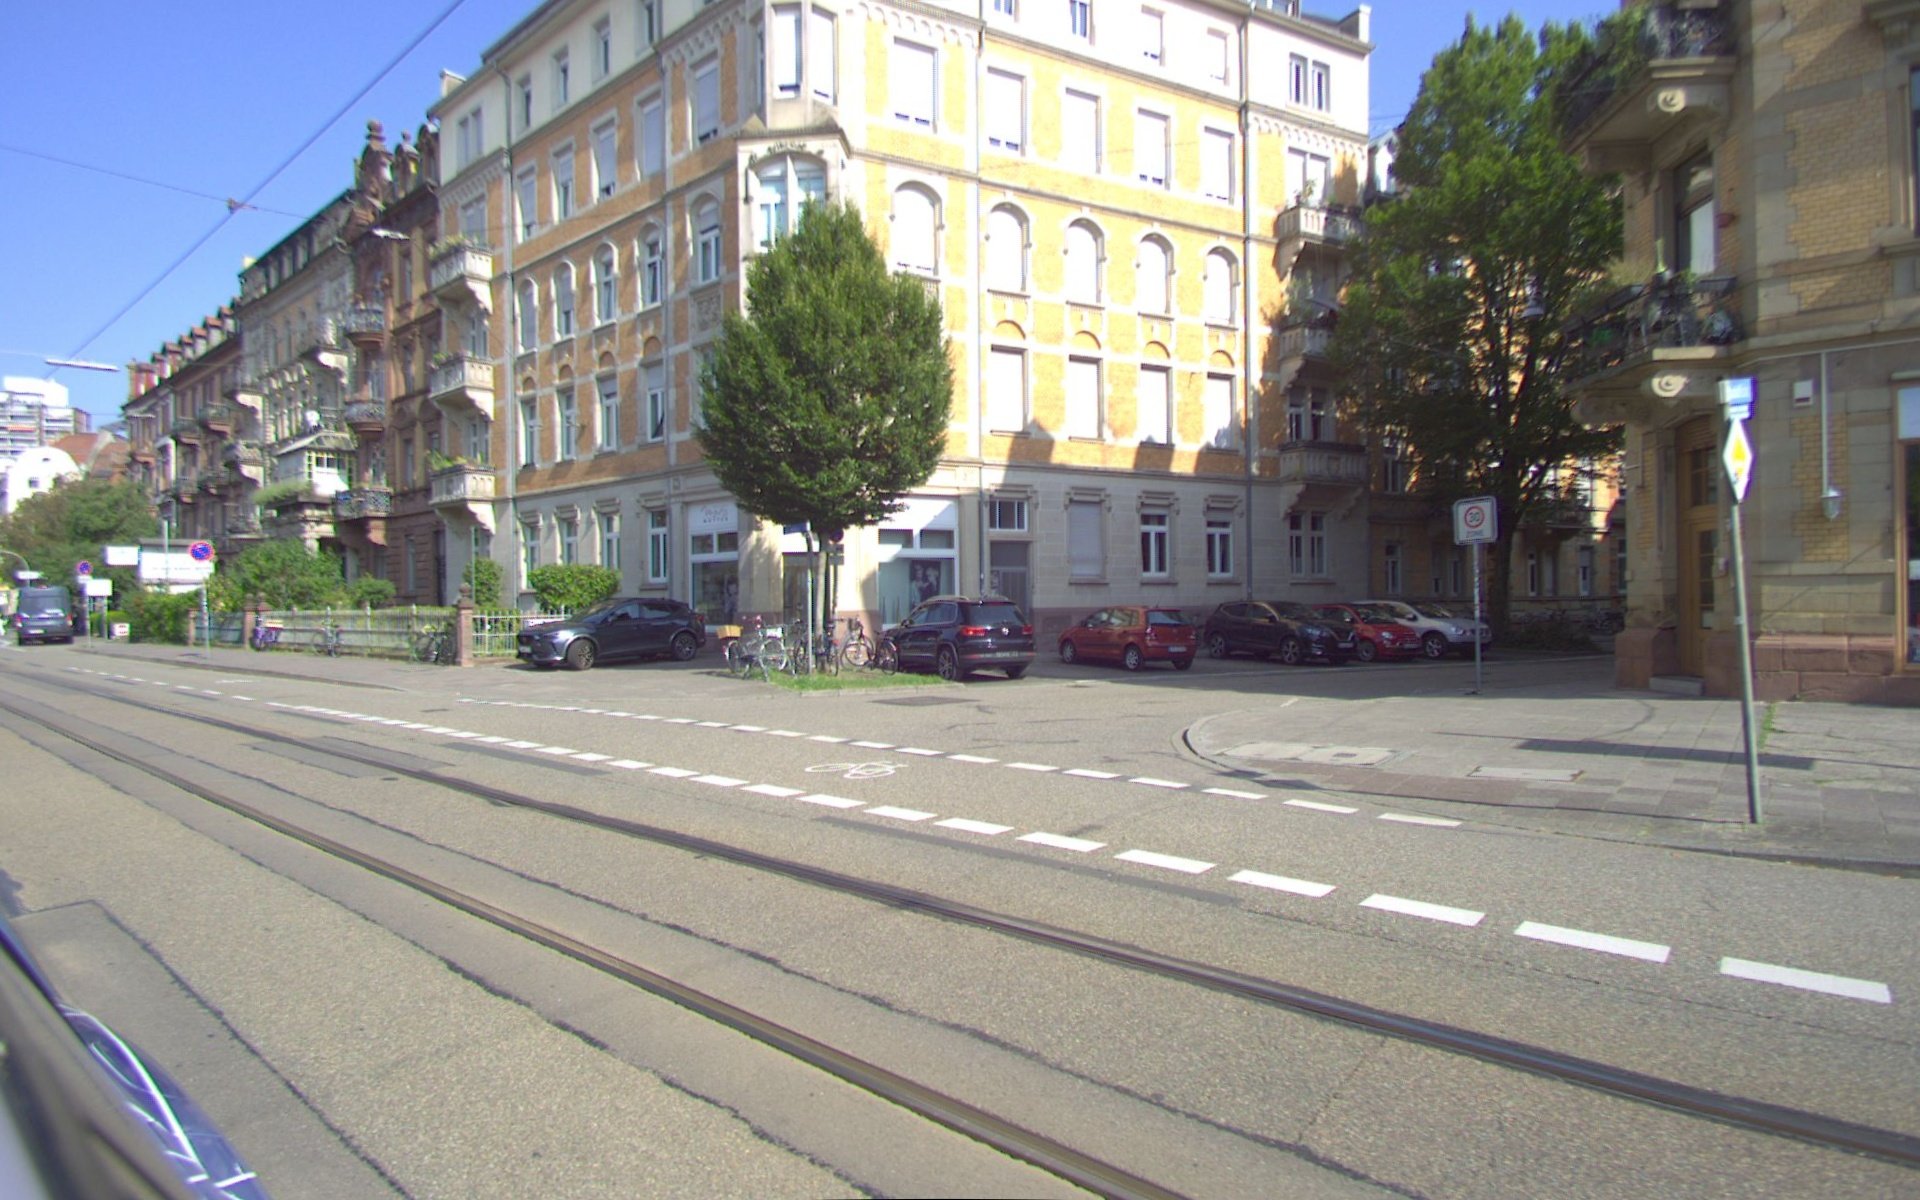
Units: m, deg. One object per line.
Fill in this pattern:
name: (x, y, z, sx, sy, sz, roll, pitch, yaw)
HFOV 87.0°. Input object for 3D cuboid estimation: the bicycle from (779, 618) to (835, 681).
bicycle: (-3.013, 0.938, 19.831, 0.475, 1.168, 1.778, 0, -1, -30)

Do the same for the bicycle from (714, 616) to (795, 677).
bicycle: (-4.176, 0.919, 20.660, 0.541, 1.190, 1.844, -1, -1, 30)

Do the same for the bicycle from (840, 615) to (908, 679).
bicycle: (-1.781, 0.935, 20.688, 0.534, 1.239, 1.777, 0, -1, -36)

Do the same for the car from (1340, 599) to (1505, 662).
car: (12.814, 0.816, 28.293, 1.738, 1.618, 3.902, 0, -1, -30)

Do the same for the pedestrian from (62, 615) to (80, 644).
pedestrian: (-52.673, 1.722, 59.986, 0.631, 1.691, 0.632, -2, -1, 29)

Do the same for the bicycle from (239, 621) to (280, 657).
bicycle: (-22.302, 1.220, 32.208, 1.839, 1.066, 0.600, -1, 3, 42)

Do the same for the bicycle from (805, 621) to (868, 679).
bicycle: (-2.476, 0.973, 20.159, 0.534, 1.098, 1.842, 0, -1, -31)

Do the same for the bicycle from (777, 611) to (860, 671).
bicycle: (-3.081, 0.883, 22.147, 1.744, 1.266, 0.544, 0, -1, -36)

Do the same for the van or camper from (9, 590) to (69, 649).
van or camper: (-44.415, 0.904, 48.819, 2.026, 2.664, 6.096, 0, -1, -42)

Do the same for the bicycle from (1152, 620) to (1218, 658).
bicycle: (6.603, 1.134, 29.711, 1.977, 1.076, 0.595, 0, -1, -28)

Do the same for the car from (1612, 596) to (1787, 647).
car: (25.519, 0.684, 35.095, 1.738, 1.569, 4.550, 0, 1, -33)

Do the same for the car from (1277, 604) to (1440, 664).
car: (10.623, 0.870, 27.231, 1.738, 1.466, 3.779, 0, -1, -31)

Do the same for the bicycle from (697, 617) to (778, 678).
bicycle: (-4.565, 0.950, 20.880, 0.541, 1.206, 1.834, -1, -1, 30)

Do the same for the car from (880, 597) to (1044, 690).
car: (-0.062, 0.812, 20.868, 1.738, 1.672, 3.780, -2, 1, -28)

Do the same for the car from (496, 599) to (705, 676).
car: (-8.228, 0.787, 23.428, 2.063, 1.554, 4.096, 0, 1, 39)

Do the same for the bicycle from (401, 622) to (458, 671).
bicycle: (-12.473, 1.081, 23.773, 1.839, 1.066, 0.539, -1, 3, 42)

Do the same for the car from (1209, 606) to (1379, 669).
car: (8.371, 0.879, 25.666, 1.737, 1.466, 3.958, 0, 0, -29)

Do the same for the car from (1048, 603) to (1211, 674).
car: (3.898, 0.853, 23.874, 1.738, 1.538, 3.779, 0, -1, -31)

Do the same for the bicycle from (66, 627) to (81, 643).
bicycle: (-52.976, 2.086, 60.468, 1.703, 0.934, 0.520, -2, -1, 44)

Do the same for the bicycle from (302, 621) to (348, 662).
bicycle: (-17.800, 1.153, 28.348, 1.839, 1.066, 0.539, -1, 3, 42)

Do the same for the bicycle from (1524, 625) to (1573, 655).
bicycle: (21.931, 1.477, 37.711, 1.977, 1.076, 0.595, 0, -1, -28)
